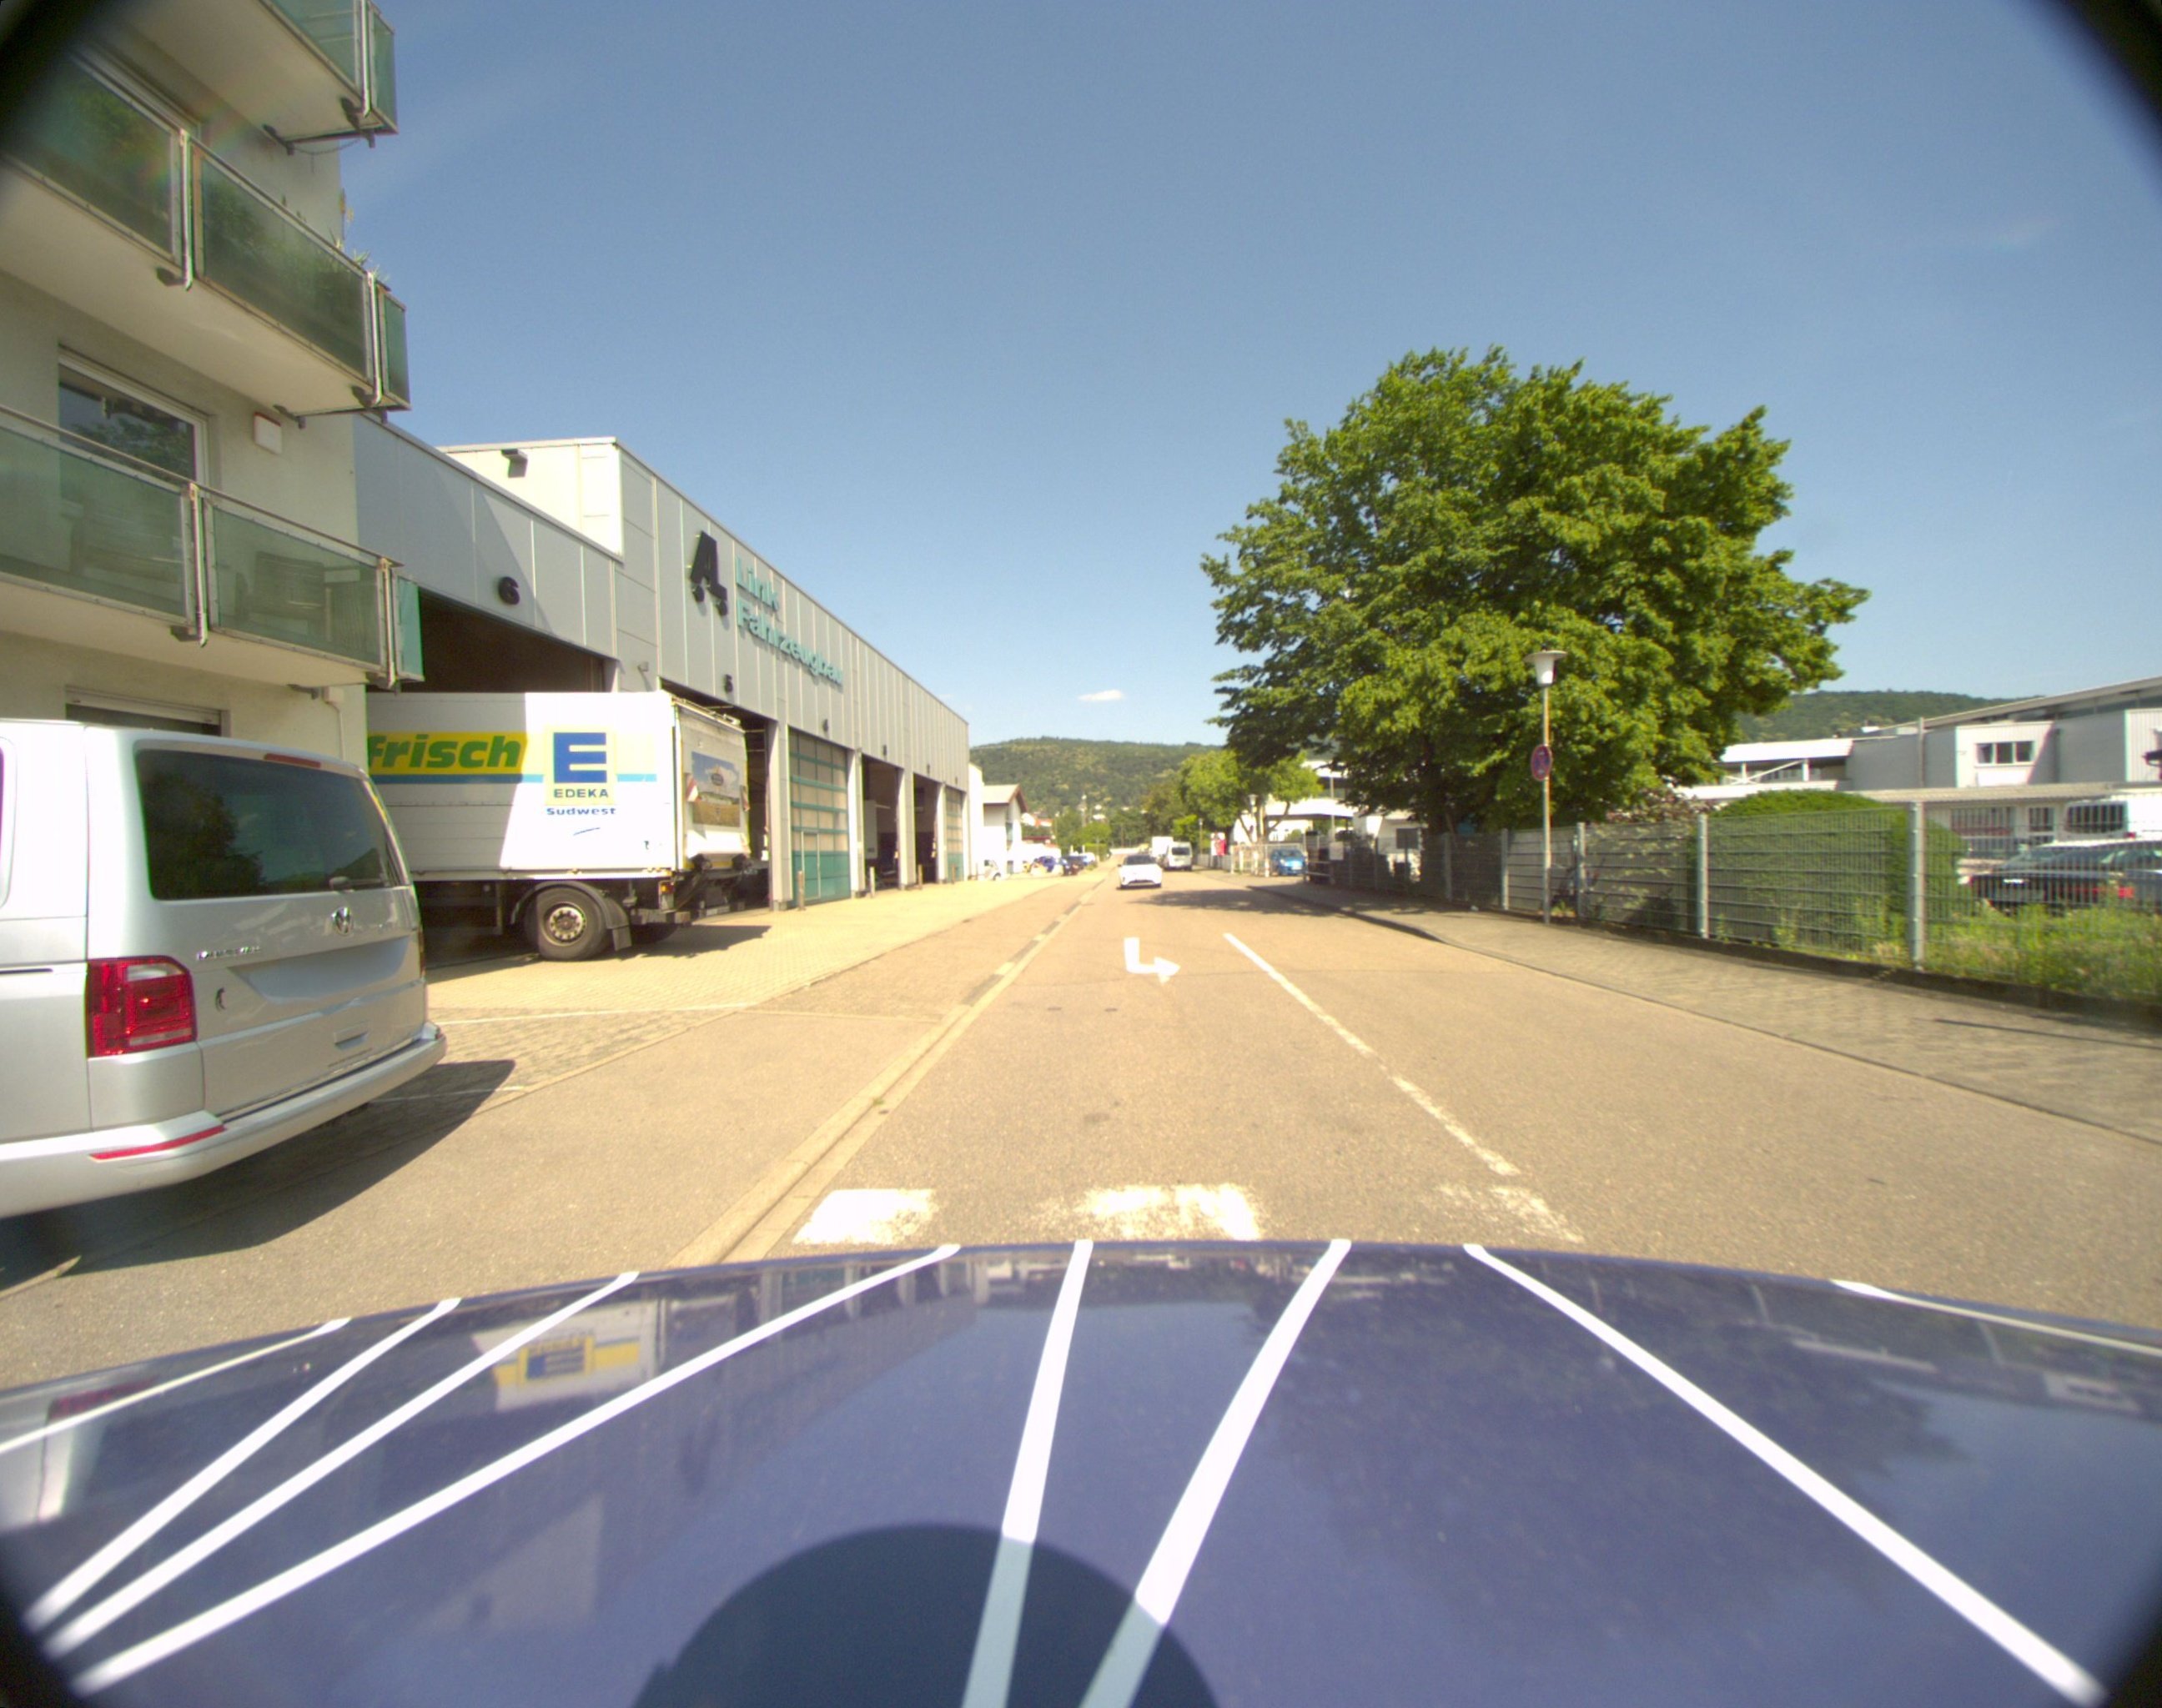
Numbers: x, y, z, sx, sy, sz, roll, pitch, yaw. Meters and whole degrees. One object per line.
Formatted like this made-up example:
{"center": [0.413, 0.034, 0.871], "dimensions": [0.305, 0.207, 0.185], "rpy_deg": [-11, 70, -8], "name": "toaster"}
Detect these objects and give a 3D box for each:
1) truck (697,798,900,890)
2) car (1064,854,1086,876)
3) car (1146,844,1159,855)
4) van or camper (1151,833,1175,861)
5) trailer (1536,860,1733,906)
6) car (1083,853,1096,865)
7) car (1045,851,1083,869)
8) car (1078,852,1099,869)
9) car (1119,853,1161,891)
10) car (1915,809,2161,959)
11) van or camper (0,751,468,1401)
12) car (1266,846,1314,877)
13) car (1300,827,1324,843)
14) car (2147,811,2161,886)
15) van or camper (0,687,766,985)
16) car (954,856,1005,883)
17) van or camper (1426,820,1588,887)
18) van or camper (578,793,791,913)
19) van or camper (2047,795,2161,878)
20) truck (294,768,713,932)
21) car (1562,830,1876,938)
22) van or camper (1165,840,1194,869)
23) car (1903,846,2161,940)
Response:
{"center": [-12.188, -0.402, 33.204], "dimensions": [7.852, 3.760, 2.625], "rpy_deg": [-1, 1, 4], "name": "truck"}
{"center": [-0.385, 0.756, 52.996], "dimensions": [1.452, 1.371, 3.186], "rpy_deg": [-2, 1, 1], "name": "car"}
{"center": [10.962, -0.657, 116.413], "dimensions": [1.708, 1.564, 3.525], "rpy_deg": [-4, 1, 1], "name": "car"}
{"center": [10.005, -0.850, 93.167], "dimensions": [2.525, 3.350, 5.592], "rpy_deg": [-1, 1, 3], "name": "van or camper"}
{"center": [12.538, 0.644, 17.382], "dimensions": [3.289, 0.934, 1.613], "rpy_deg": [-1, 1, 6], "name": "trailer"}
{"center": [1.054, 0.575, 93.311], "dimensions": [1.452, 1.371, 3.186], "rpy_deg": [-4, 1, 1], "name": "car"}
{"center": [-1.385, 0.496, 62.175], "dimensions": [2.974, 1.332, 1.453], "rpy_deg": [-1, 1, 4], "name": "car"}
{"center": [0.700, 0.599, 72.488], "dimensions": [1.453, 1.487, 3.184], "rpy_deg": [-4, 1, -7], "name": "car"}
{"center": [2.600, 0.737, 33.661], "dimensions": [1.736, 1.521, 4.110], "rpy_deg": [-1, 1, 4], "name": "car"}
{"center": [12.494, 0.274, 8.696], "dimensions": [3.833, 1.533, 1.857], "rpy_deg": [-1, 1, 1], "name": "car"}
{"center": [-5.327, 0.678, 2.612], "dimensions": [4.559, 1.897, 1.997], "rpy_deg": [-1, 0, -16], "name": "van or camper"}
{"center": [11.138, 0.366, 40.745], "dimensions": [1.644, 1.449, 3.525], "rpy_deg": [-4, 1, 2], "name": "car"}
{"center": [21.908, -1.788, 72.090], "dimensions": [1.705, 1.449, 3.531], "rpy_deg": [-1, 1, 24], "name": "car"}
{"center": [30.929, -0.181, 19.117], "dimensions": [4.572, 2.002, 2.060], "rpy_deg": [-1, 1, 12], "name": "car"}
{"center": [-11.097, -0.245, 11.084], "dimensions": [11.632, 3.671, 2.780], "rpy_deg": [-1, 1, -3], "name": "van or camper"}
{"center": [-6.231, 0.942, 46.869], "dimensions": [2.829, 1.525, 1.309], "rpy_deg": [-1, -1, -43], "name": "car"}
{"center": [13.762, -0.033, 24.765], "dimensions": [4.191, 1.853, 1.774], "rpy_deg": [-3, 1, 6], "name": "van or camper"}
{"center": [-11.453, -0.037, 22.218], "dimensions": [5.054, 3.187, 2.000], "rpy_deg": [-2, 1, 2], "name": "van or camper"}
{"center": [31.302, -0.543, 21.675], "dimensions": [4.595, 2.292, 1.782], "rpy_deg": [-1, 2, 10], "name": "van or camper"}
{"center": [-13.060, -0.066, 17.524], "dimensions": [7.967, 3.385, 2.480], "rpy_deg": [-1, 1, 5], "name": "truck"}
{"center": [9.473, 0.427, 11.504], "dimensions": [3.385, 1.476, 1.518], "rpy_deg": [-1, 1, 6], "name": "car"}
{"center": [8.137, -0.004, 62.805], "dimensions": [2.028, 2.363, 4.686], "rpy_deg": [0, 1, 3], "name": "van or camper"}
{"center": [16.652, 0.631, 13.079], "dimensions": [3.076, 1.464, 1.653], "rpy_deg": [-1, 1, 6], "name": "car"}
